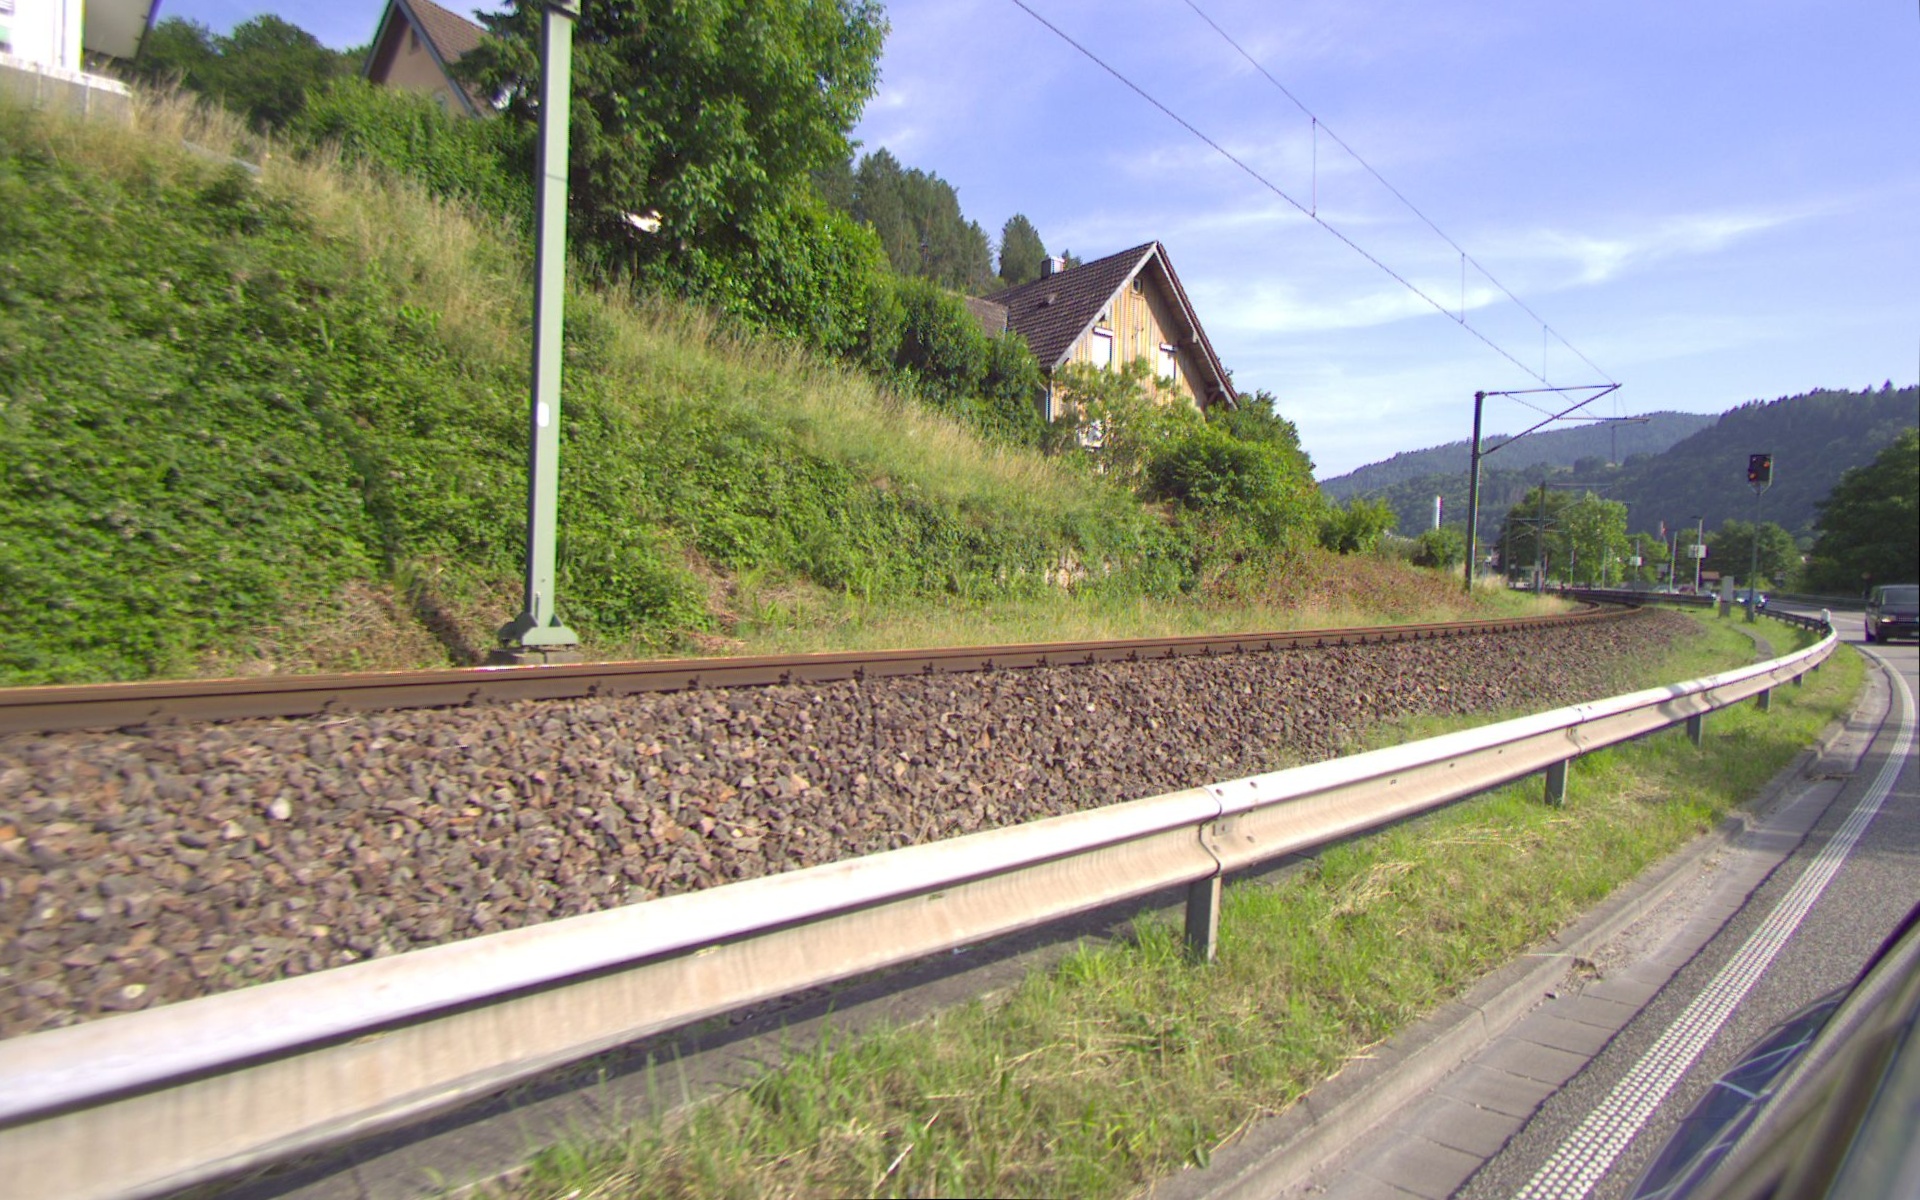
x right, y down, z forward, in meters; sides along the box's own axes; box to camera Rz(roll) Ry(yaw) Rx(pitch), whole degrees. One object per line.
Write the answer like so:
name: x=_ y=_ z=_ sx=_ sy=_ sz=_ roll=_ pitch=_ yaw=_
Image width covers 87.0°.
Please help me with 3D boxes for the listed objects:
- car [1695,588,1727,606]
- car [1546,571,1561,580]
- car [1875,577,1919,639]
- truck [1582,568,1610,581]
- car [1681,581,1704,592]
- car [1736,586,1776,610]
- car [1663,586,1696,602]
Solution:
car: x=74.485 y=-0.333 z=100.410 sx=1.869 sy=1.767 sz=4.138 roll=1 pitch=1 yaw=28
car: x=115.918 y=-4.830 z=197.718 sx=1.864 sy=1.767 sz=4.149 roll=2 pitch=1 yaw=21
car: x=31.477 y=0.207 z=33.174 sx=2.010 sy=1.940 sz=4.250 roll=0 pitch=1 yaw=40
truck: x=111.150 y=-4.448 z=177.002 sx=1.851 sy=2.314 sz=4.719 roll=1 pitch=1 yaw=1
car: x=95.202 y=-1.761 z=131.537 sx=1.622 sy=1.365 sz=4.073 roll=0 pitch=2 yaw=25
car: x=60.501 y=-0.169 z=76.950 sx=1.871 sy=1.767 sz=4.133 roll=1 pitch=1 yaw=31
car: x=82.019 y=-0.646 z=115.393 sx=1.862 sy=1.767 sz=4.154 roll=0 pitch=1 yaw=18
